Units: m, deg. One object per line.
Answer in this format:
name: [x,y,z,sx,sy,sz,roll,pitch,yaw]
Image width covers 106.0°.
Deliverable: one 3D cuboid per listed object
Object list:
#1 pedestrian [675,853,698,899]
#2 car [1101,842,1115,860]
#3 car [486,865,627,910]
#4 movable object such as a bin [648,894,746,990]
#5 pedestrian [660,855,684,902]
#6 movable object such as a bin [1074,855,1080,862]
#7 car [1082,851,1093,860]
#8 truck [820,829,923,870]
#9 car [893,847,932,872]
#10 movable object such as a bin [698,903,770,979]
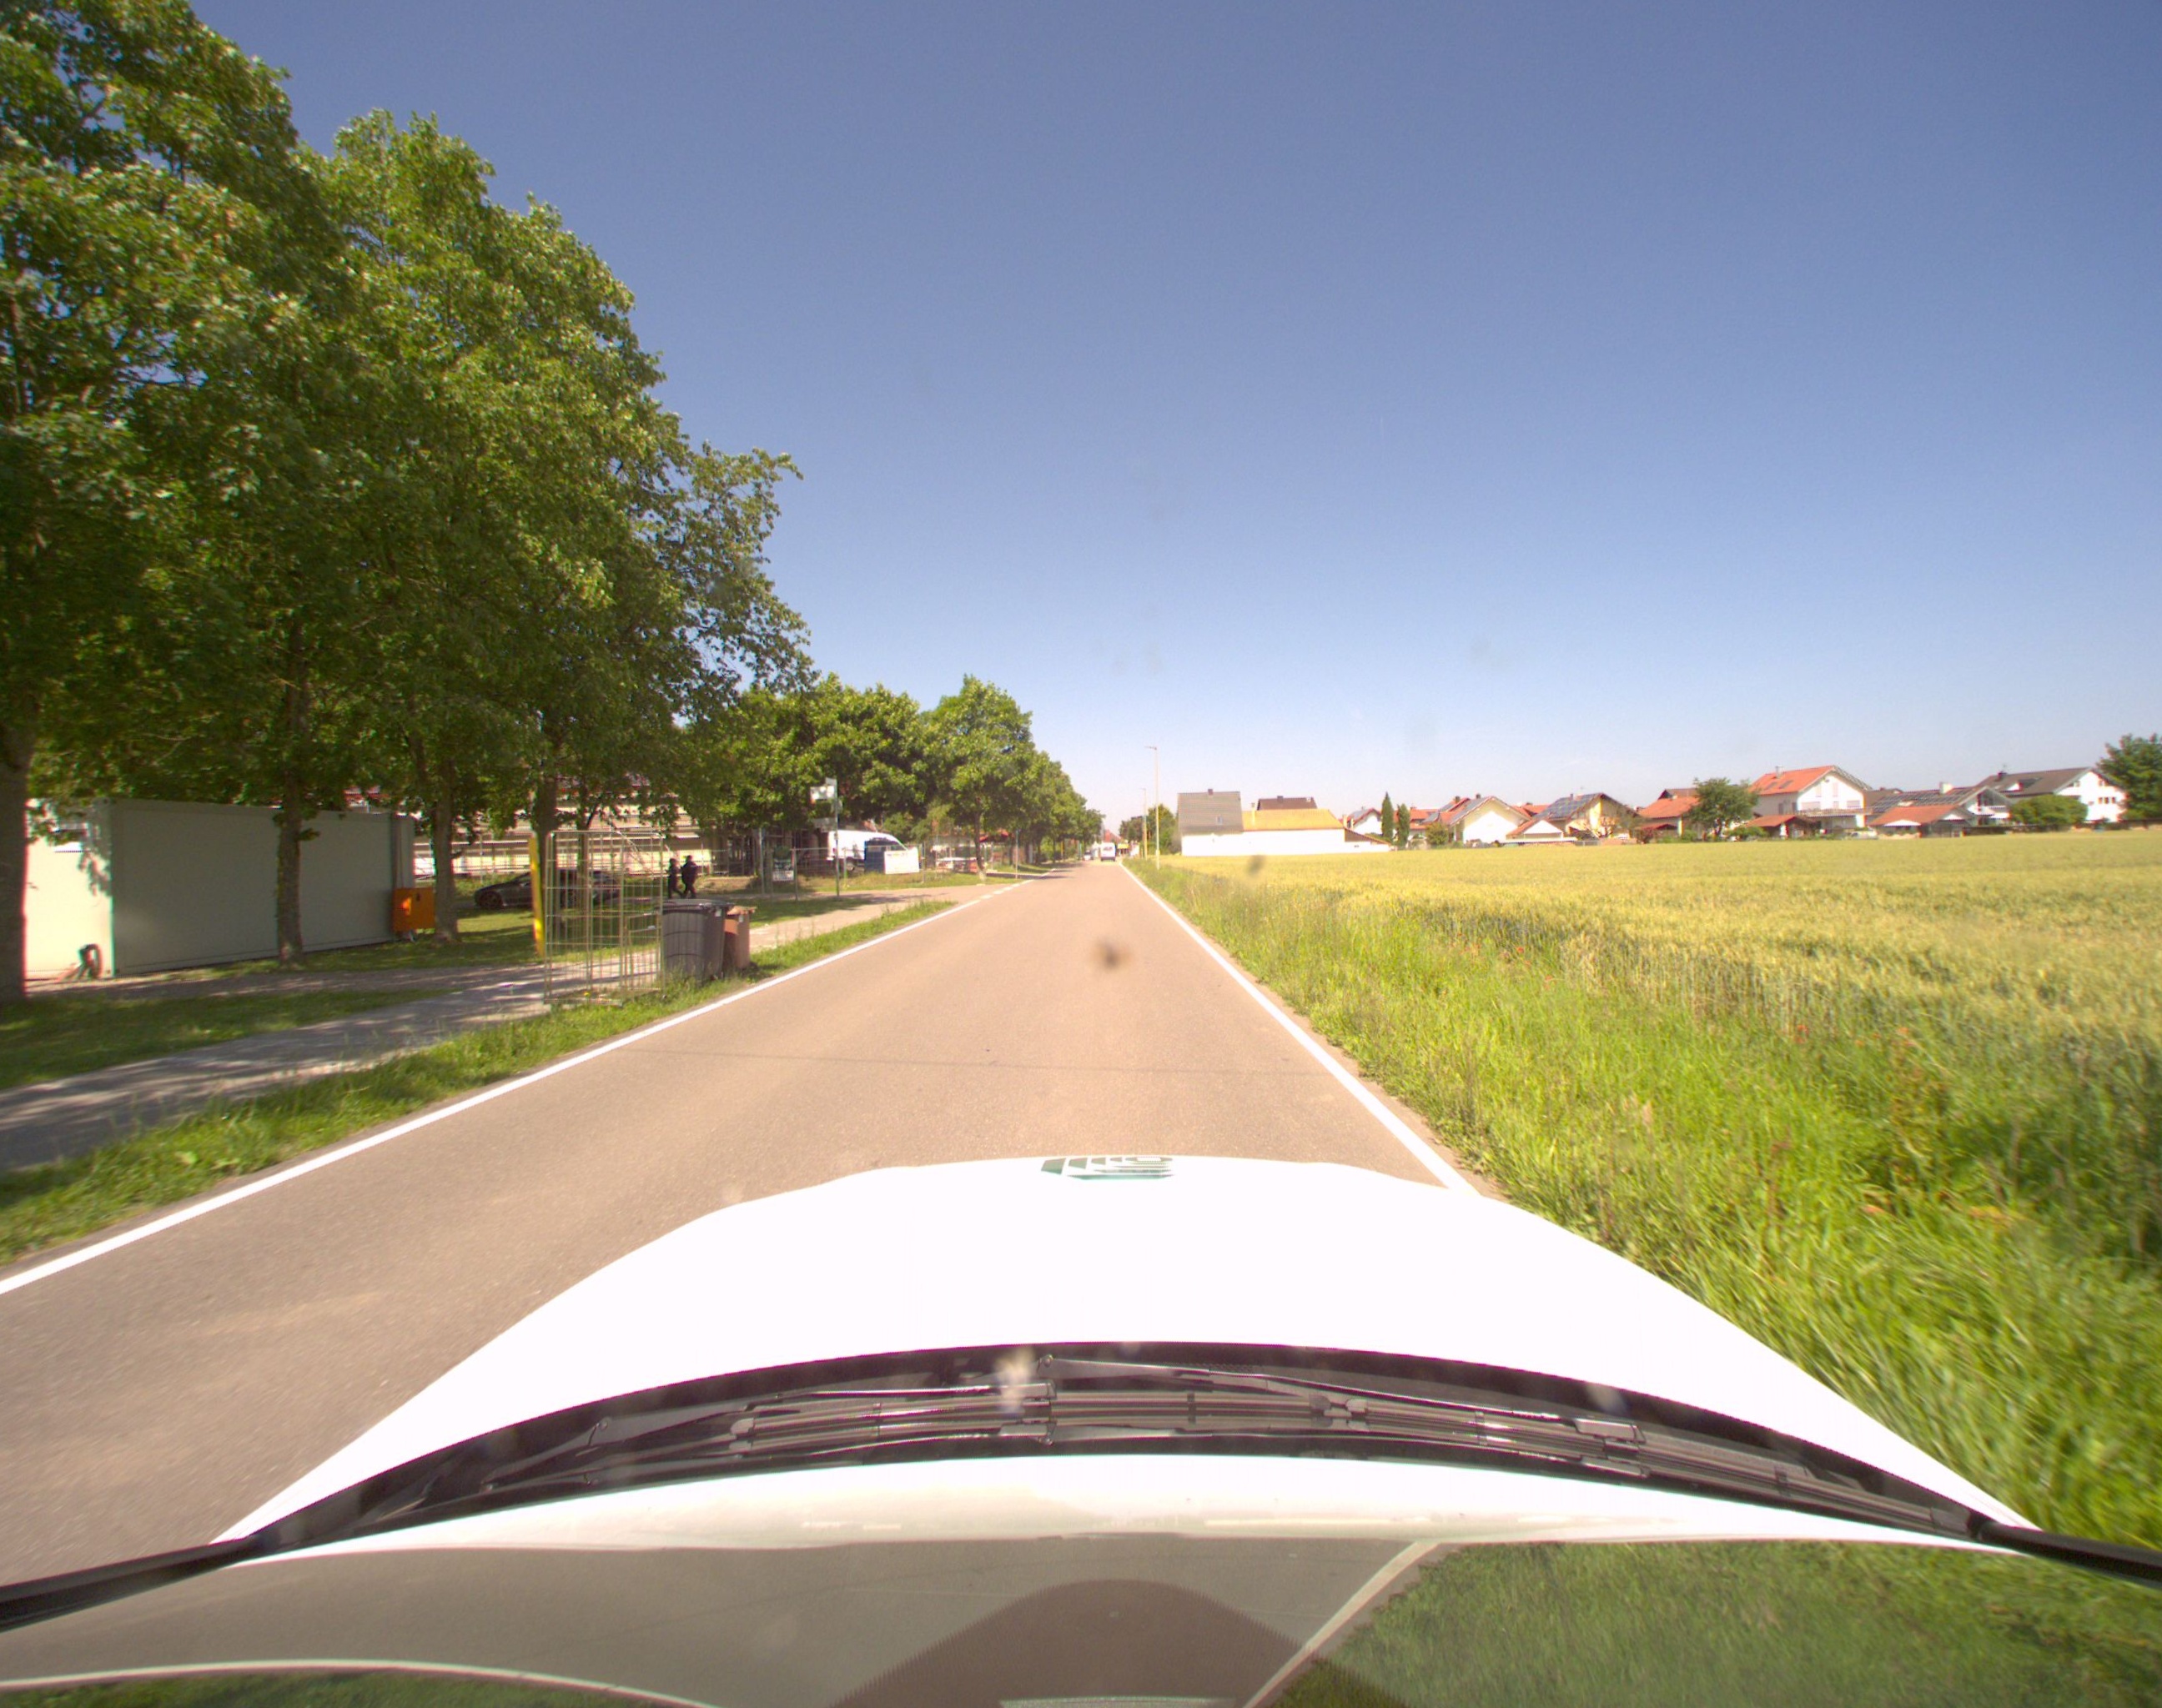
pedestrian: [-15.376,0.861,31.721,0.603,1.751,0.585,-2,0,-8]
car: [3.731,-0.389,111.675,1.731,2.432,4.377,-2,0,2]
car: [-18.792,1.189,29.324,3.795,1.399,1.755,-2,0,-6]
movable object such as a bin: [-4.471,1.009,9.527,0.694,1.024,0.750,-2,0,9]
pedestrian: [-15.579,0.922,31.016,0.603,1.751,0.585,-2,0,-8]
movable object such as a bin: [-0.630,0.745,130.213,0.706,1.079,0.643,-2,-1,29]
car: [1.155,0.269,135.679,1.641,1.423,4.082,-4,0,2]
truck: [-13.059,-0.282,50.985,5.957,2.483,1.978,-1,-1,-36]
car: [-12.786,0.380,61.986,1.963,1.838,4.329,-1,0,1]
movable object such as a bin: [-4.370,1.085,10.284,0.559,0.877,0.615,-2,0,9]
